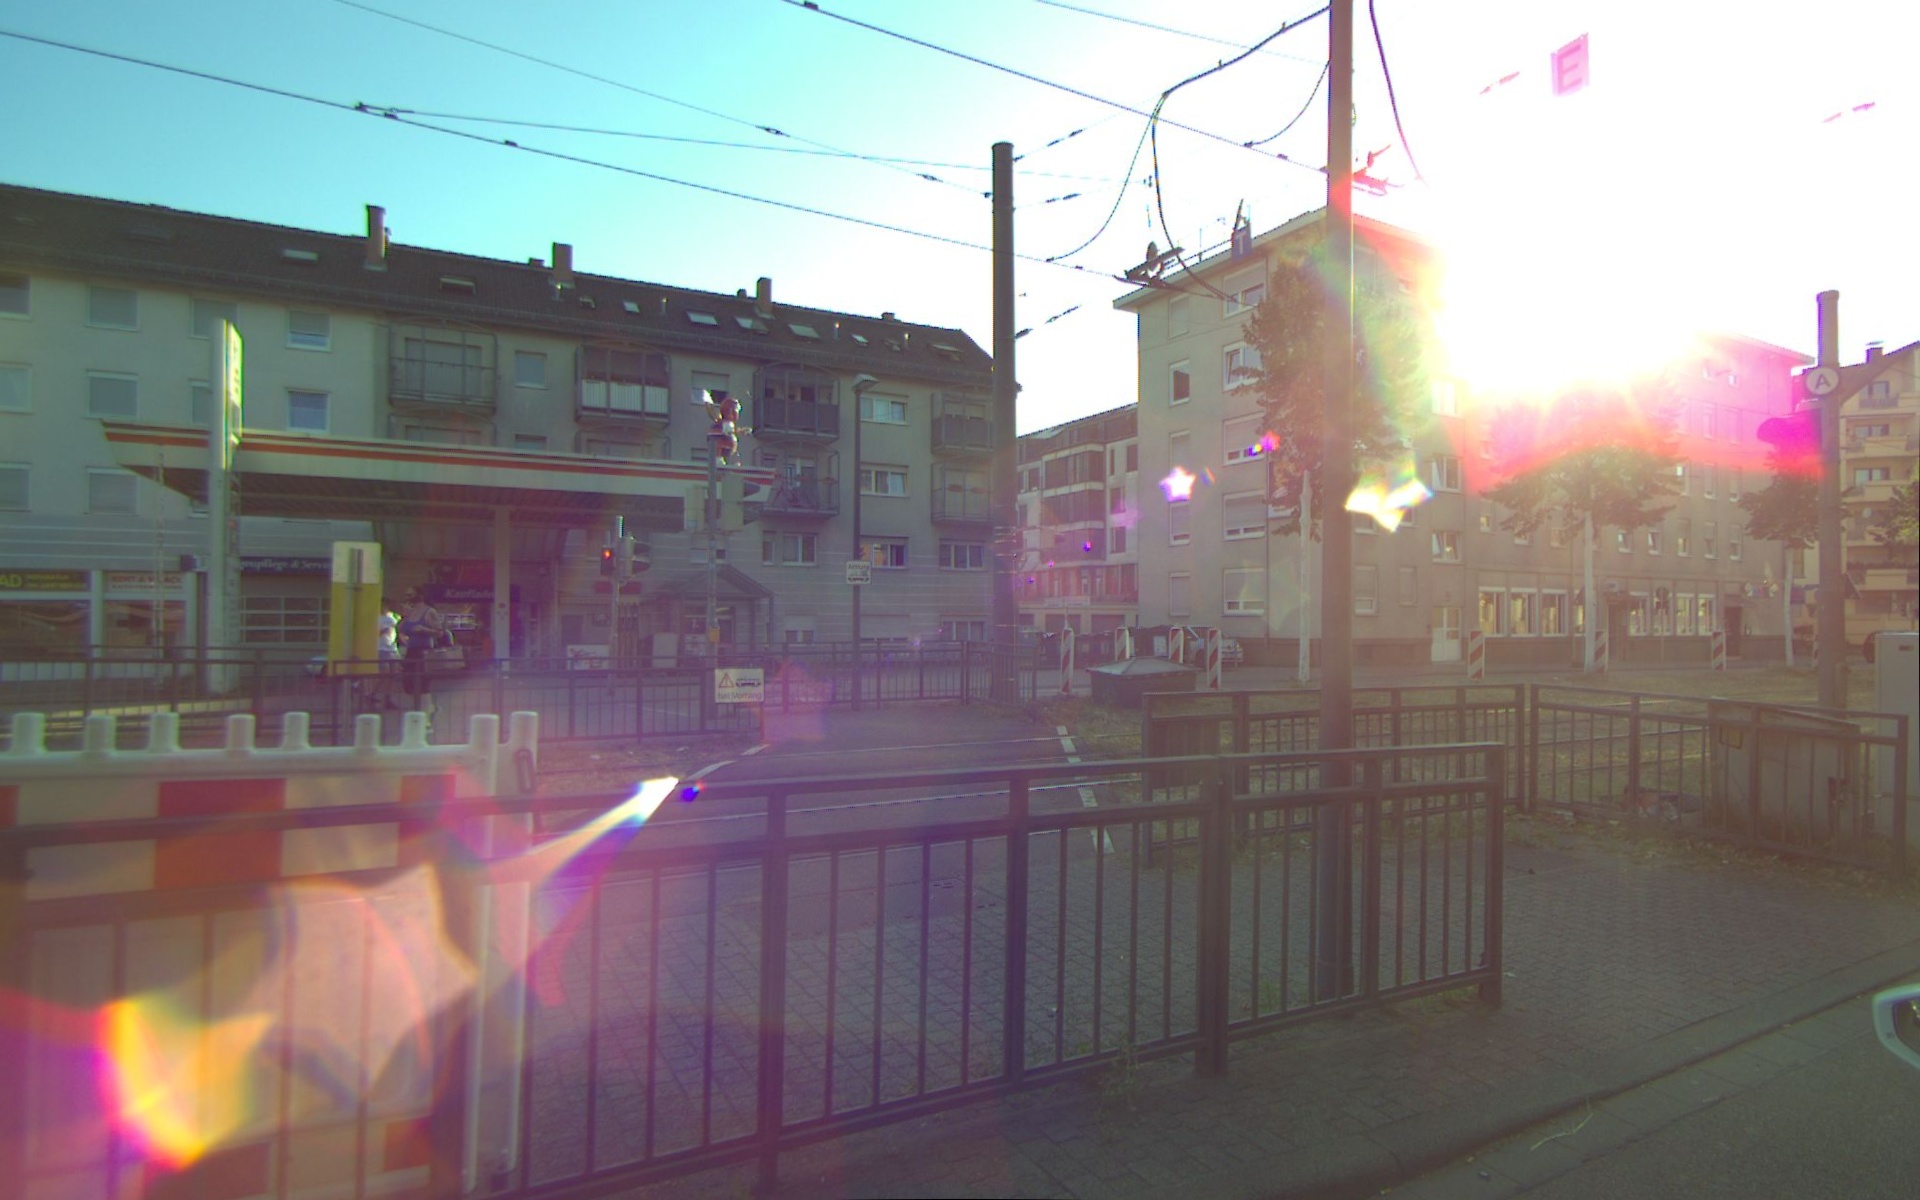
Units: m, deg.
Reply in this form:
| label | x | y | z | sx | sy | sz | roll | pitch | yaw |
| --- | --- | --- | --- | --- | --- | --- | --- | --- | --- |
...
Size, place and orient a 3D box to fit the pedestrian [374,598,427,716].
| label | x | y | z | sx | sy | sz | roll | pitch | yaw |
| --- | --- | --- | --- | --- | --- | --- | --- | --- | --- |
| pedestrian | -9.614 | 0.968 | 17.260 | 0.747 | 1.957 | 0.853 | 1 | -1 | -32 |

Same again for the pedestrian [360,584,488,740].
| label | x | y | z | sx | sy | sz | roll | pitch | yaw |
| --- | --- | --- | --- | --- | --- | --- | --- | --- | --- |
| pedestrian | -6.125 | 0.669 | 11.505 | 0.920 | 1.676 | 0.925 | 2 | 1 | 27 |

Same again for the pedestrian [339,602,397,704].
| label | x | y | z | sx | sy | sz | roll | pitch | yaw |
| --- | --- | --- | --- | --- | --- | --- | --- | --- | --- |
| pedestrian | -10.579 | 0.934 | 17.943 | 0.851 | 1.770 | 0.749 | 1 | -1 | -33 |

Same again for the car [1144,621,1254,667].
| label | x | y | z | sx | sy | sz | roll | pitch | yaw |
| --- | --- | --- | --- | --- | --- | --- | --- | --- | --- |
| car | 8.421 | 1.570 | 35.695 | 1.794 | 1.532 | 3.804 | 1 | -3 | -26 |

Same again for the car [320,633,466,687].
| label | x | y | z | sx | sy | sz | roll | pitch | yaw |
| --- | --- | --- | --- | --- | --- | --- | --- | --- | --- |
| car | -17.394 | 1.802 | 30.936 | 3.784 | 1.543 | 1.803 | 1 | -2 | -31 |

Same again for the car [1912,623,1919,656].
| label | x | y | z | sx | sy | sz | roll | pitch | yaw |
| --- | --- | --- | --- | --- | --- | --- | --- | --- | --- |
| car | 47.348 | 1.851 | 47.648 | 4.874 | 1.580 | 1.804 | 1 | -2 | -29 |

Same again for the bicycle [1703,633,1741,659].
| label | x | y | z | sx | sy | sz | roll | pitch | yaw |
| --- | --- | --- | --- | --- | --- | --- | --- | --- | --- |
| bicycle | 34.924 | 2.100 | 46.025 | 1.757 | 1.129 | 0.743 | 1 | -2 | -30 |

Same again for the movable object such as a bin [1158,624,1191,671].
| label | x | y | z | sx | sy | sz | roll | pitch | yaw |
| --- | --- | --- | --- | --- | --- | --- | --- | --- | --- |
| movable object such as a bin | 6.550 | 1.447 | 30.657 | 0.740 | 1.419 | 0.660 | 1 | -2 | -31 |
